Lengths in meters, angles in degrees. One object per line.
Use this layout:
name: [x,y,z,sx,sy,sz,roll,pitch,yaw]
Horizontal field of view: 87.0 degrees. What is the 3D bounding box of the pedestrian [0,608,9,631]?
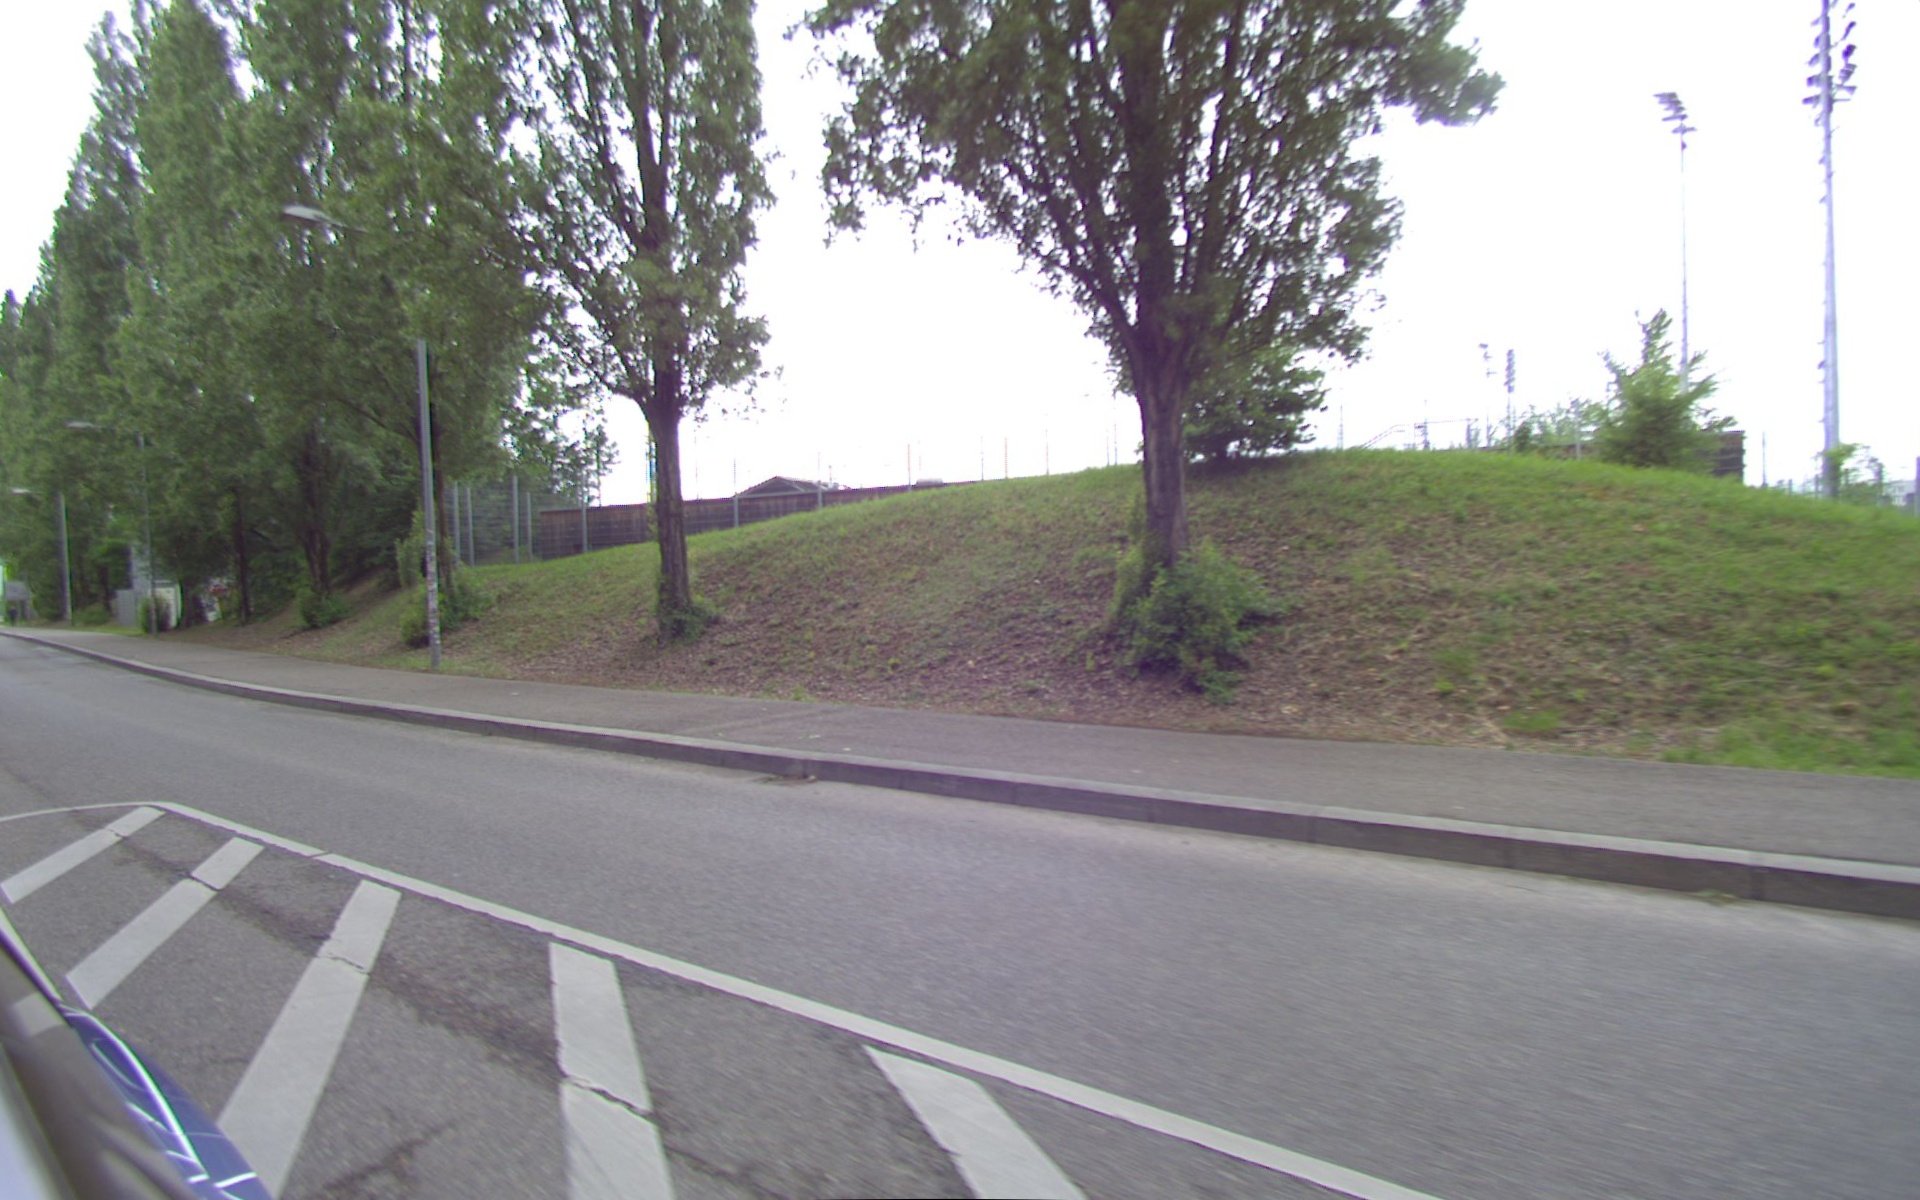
pedestrian: [-82.511,1.688,87.259,0.737,1.908,0.653,-1,0,44]
